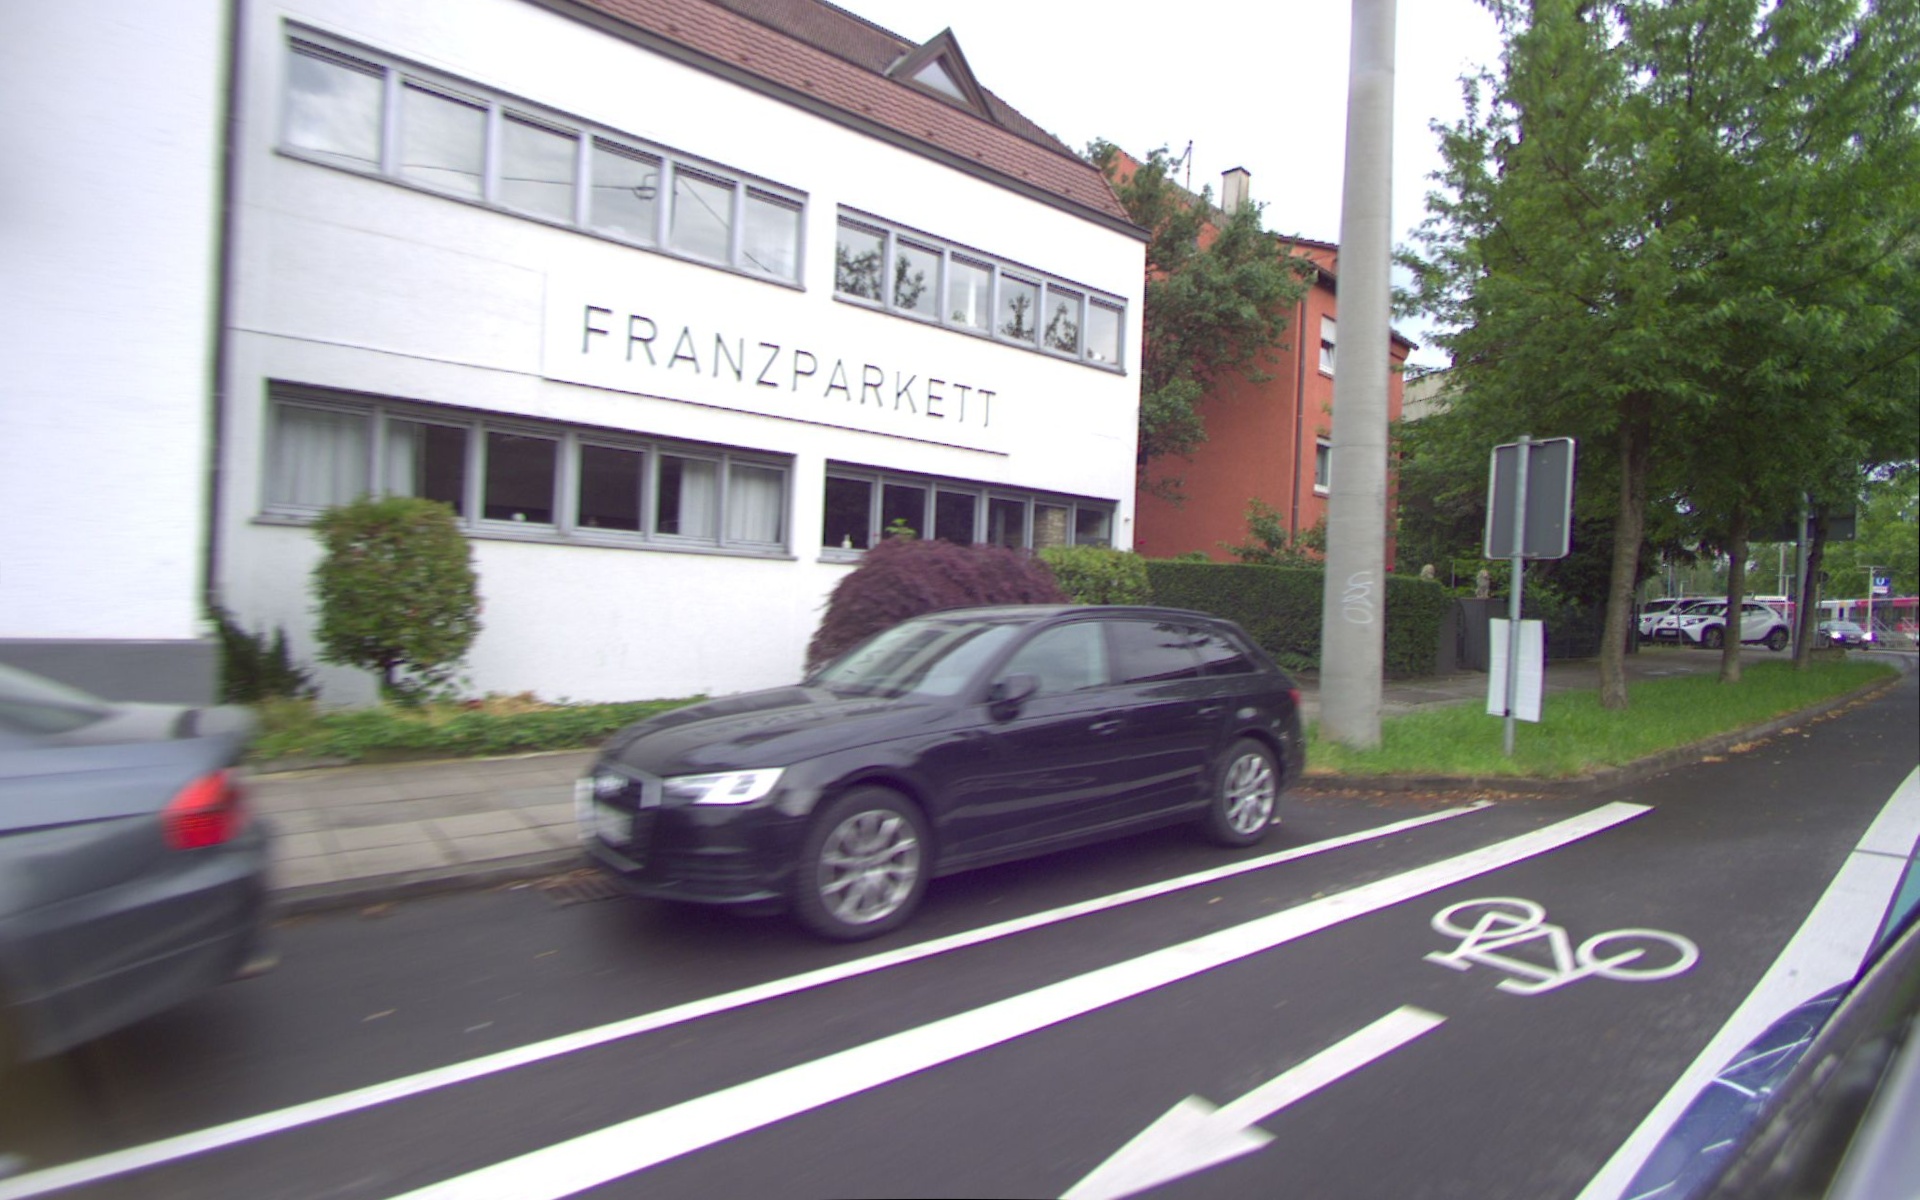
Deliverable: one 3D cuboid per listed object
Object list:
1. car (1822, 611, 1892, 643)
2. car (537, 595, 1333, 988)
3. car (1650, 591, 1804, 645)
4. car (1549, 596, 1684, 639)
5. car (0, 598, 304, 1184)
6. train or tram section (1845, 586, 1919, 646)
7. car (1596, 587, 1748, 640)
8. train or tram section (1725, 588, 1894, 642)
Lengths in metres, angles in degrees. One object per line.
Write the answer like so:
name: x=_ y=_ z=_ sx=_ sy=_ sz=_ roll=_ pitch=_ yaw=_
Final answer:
car: x=46.396 y=1.358 z=52.435 sx=1.765 sy=1.520 sz=3.962 roll=1 pitch=1 yaw=27
car: x=0.152 y=0.708 z=5.810 sx=4.482 sy=1.441 sz=1.681 roll=0 pitch=0 yaw=-39
car: x=23.718 y=0.560 z=31.340 sx=3.658 sy=1.541 sz=1.806 roll=2 pitch=0 yaw=-11
car: x=23.856 y=0.629 z=36.814 sx=3.966 sy=1.458 sz=1.790 roll=2 pitch=-1 yaw=-11
car: x=-4.169 y=0.718 z=2.179 sx=4.482 sy=1.430 sz=1.716 roll=0 pitch=1 yaw=-39
train or tram section: x=65.010 y=1.065 z=66.370 sx=2.838 sy=4.011 sz=19.220 roll=0 pitch=0 yaw=17
car: x=23.909 y=0.450 z=34.031 sx=3.940 sy=1.651 sz=1.970 roll=2 pitch=0 yaw=-11
train or tram section: x=70.301 y=1.162 z=84.708 sx=2.836 sy=4.021 sz=19.238 roll=0 pitch=0 yaw=15
